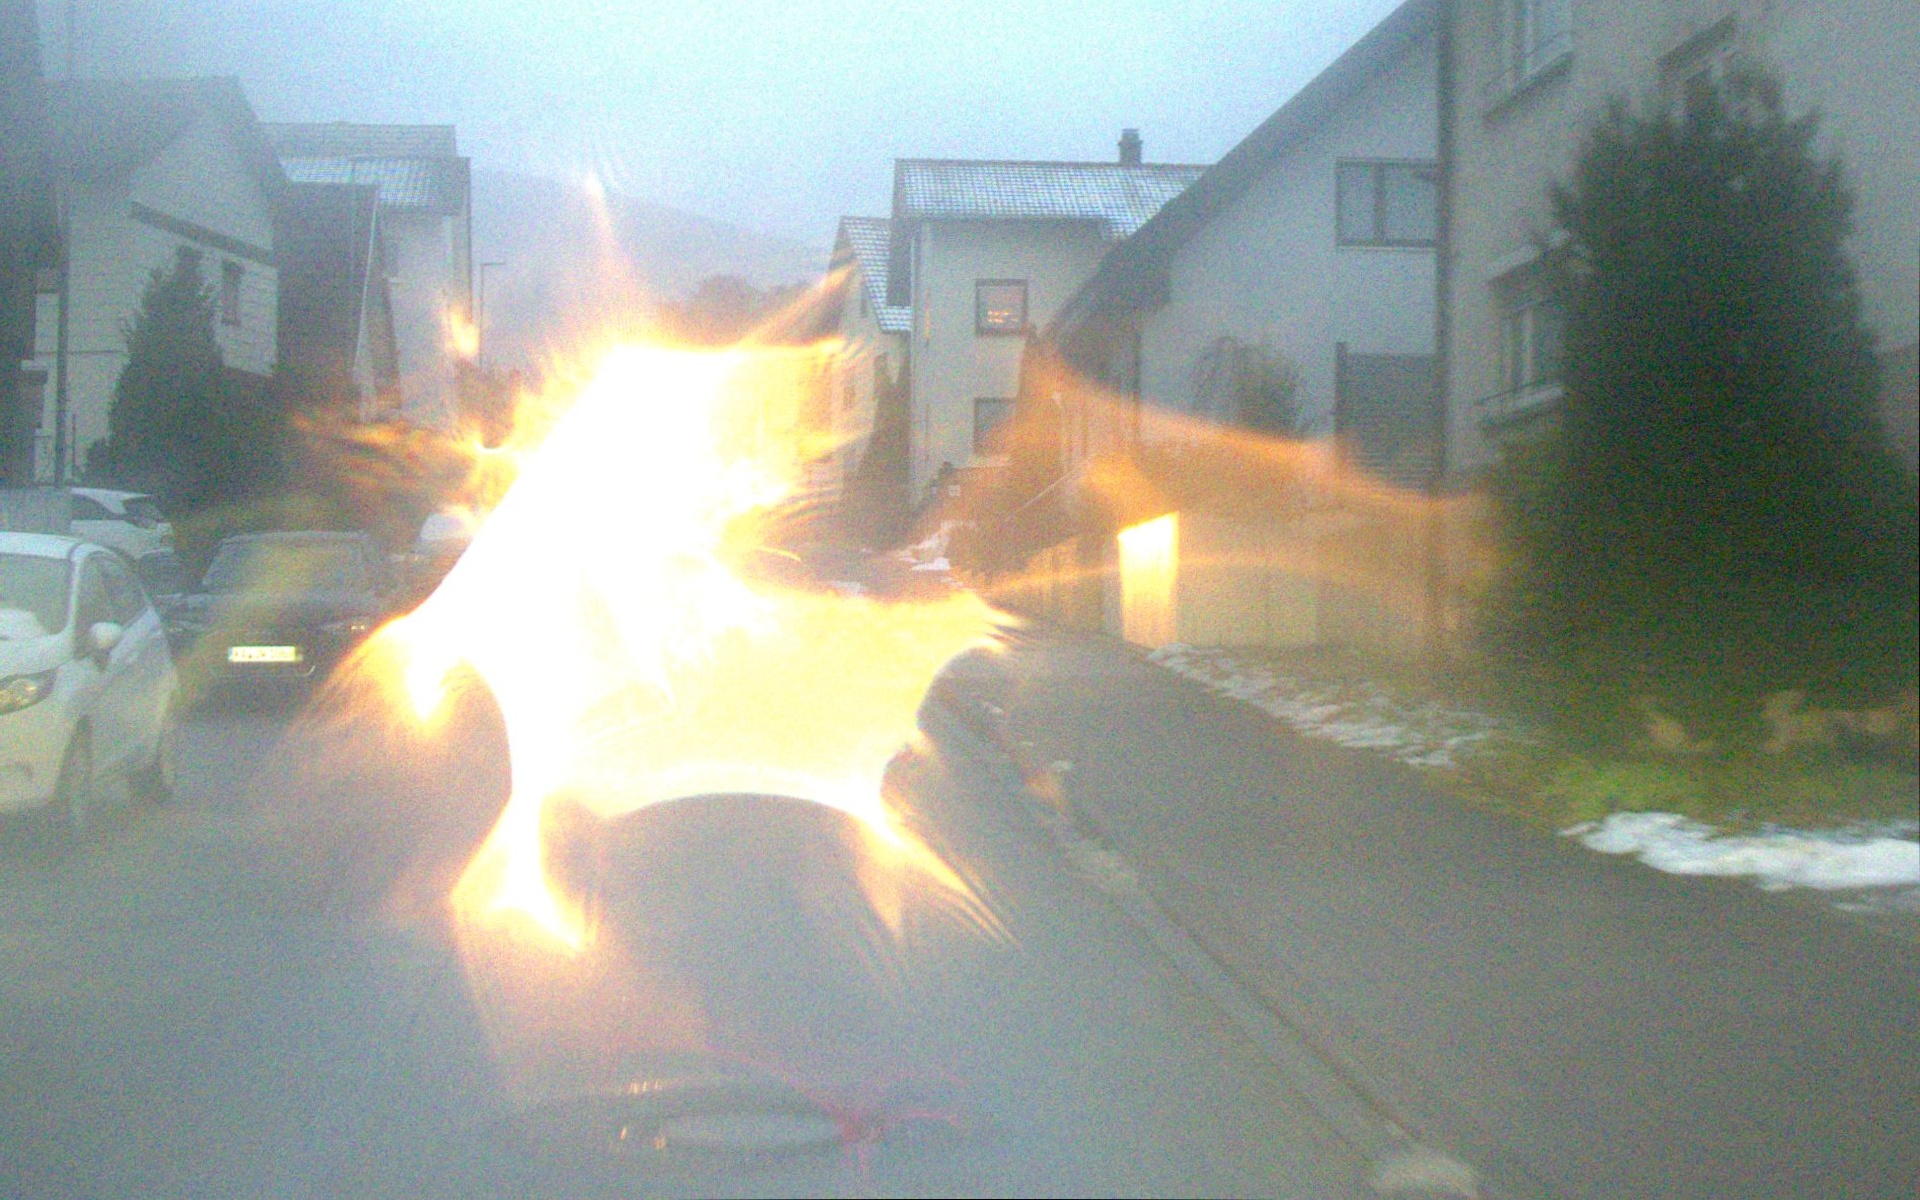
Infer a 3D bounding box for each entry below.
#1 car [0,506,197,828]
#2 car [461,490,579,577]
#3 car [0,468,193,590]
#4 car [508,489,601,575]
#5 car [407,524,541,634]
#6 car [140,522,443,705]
[{"bbox_3d":[-4.921,0.359,17.141,1.618,1.434,3.656,-1,-2,-4],"label":"car"},{"bbox_3d":[-8.198,-1.271,64.296,1.794,1.498,4.310,-1,2,-2],"label":"car"},{"bbox_3d":[-12.760,-0.995,47.317,3.987,1.612,1.889,1,2,0],"label":"car"},{"bbox_3d":[-9.142,-1.561,77.722,1.825,1.828,4.346,-2,2,-4],"label":"car"},{"bbox_3d":[-7.313,-0.352,52.030,1.683,1.579,4.176,-1,1,-4],"label":"car"},{"bbox_3d":[-5.571,0.054,29.247,1.877,1.389,5.076,-1,1,-4],"label":"car"}]
